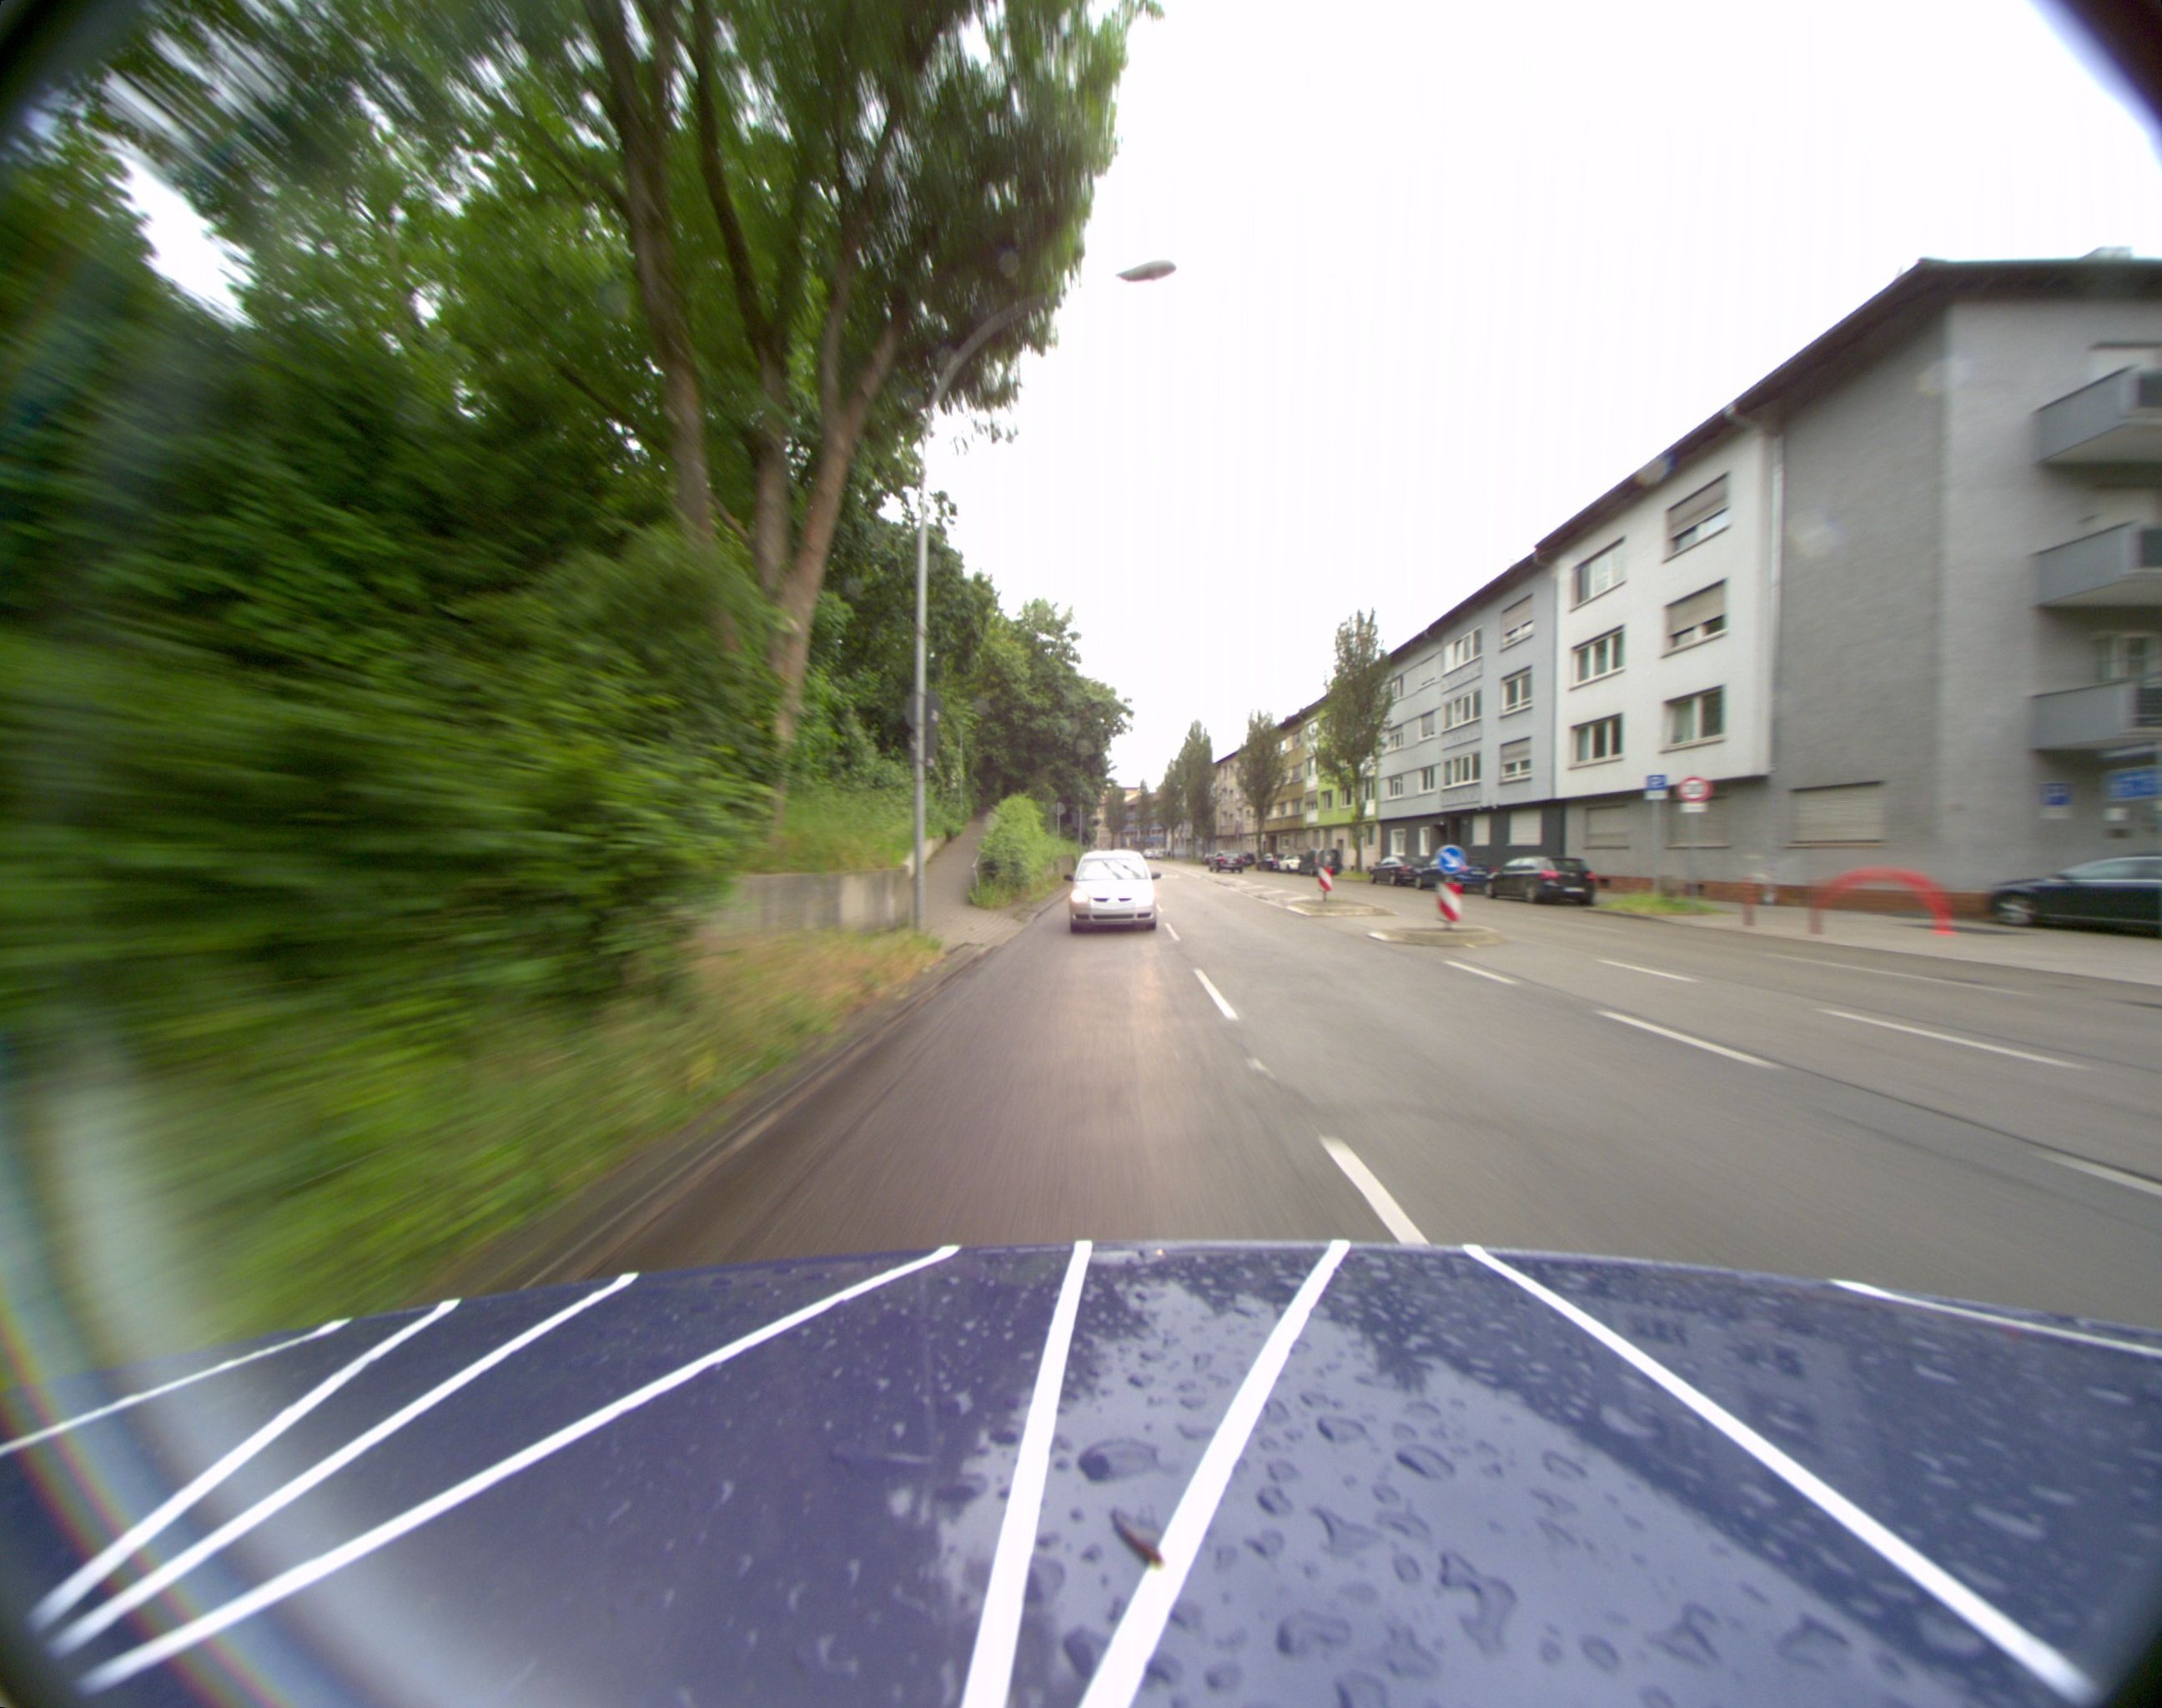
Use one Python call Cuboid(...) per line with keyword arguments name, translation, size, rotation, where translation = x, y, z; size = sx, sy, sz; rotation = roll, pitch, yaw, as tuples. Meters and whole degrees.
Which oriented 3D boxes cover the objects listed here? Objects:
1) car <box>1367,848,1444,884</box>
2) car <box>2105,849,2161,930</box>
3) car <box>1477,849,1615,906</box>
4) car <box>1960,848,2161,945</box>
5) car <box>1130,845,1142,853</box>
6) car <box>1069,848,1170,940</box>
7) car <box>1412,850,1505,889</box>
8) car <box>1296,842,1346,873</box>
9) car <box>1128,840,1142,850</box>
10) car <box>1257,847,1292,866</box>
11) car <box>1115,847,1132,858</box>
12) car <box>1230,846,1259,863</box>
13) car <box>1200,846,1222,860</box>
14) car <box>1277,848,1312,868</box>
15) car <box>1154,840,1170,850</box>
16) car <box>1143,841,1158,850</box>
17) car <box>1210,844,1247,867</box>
Cuboid(name="car", translation=(14.939, 0.498, 35.244), size=(1.726, 1.472, 4.315), rotation=(2, 1, 1))
Cuboid(name="car", translation=(21.146, 0.703, 12.938), size=(1.734, 1.516, 4.229), rotation=(1, 1, 2))
Cuboid(name="car", translation=(14.429, 0.662, 23.907), size=(1.851, 1.536, 4.247), rotation=(-2, 1, 2))
Cuboid(name="car", translation=(18.497, 0.704, 12.904), size=(1.855, 1.477, 4.634), rotation=(-2, 1, 2))
Cuboid(name="car", translation=(11.201, -1.007, 155.368), size=(1.868, 1.558, 3.955), rotation=(1, 1, -4))
Cuboid(name="car", translation=(0.876, 0.719, 16.002), size=(1.754, 1.586, 4.170), rotation=(-4, 0, 5))
Cuboid(name="car", translation=(14.595, 0.564, 29.643), size=(1.726, 1.376, 3.926), rotation=(1, 1, 1))
Cuboid(name="car", translation=(15.301, 0.188, 48.681), size=(1.904, 1.859, 4.315), rotation=(0, 1, 1))
Cuboid(name="car", translation=(8.871, -1.537, 124.664), size=(1.868, 1.558, 4.171), rotation=(1, 1, -3))
Cuboid(name="car", translation=(15.001, 0.134, 59.030), size=(1.547, 1.338, 4.252), rotation=(2, 1, -1))
Cuboid(name="car", translation=(5.872, -0.173, 105.698), size=(1.999, 1.455, 3.998), rotation=(1, 1, -3))
Cuboid(name="car", translation=(15.272, 0.034, 71.108), size=(1.868, 1.504, 3.999), rotation=(1, 1, 0))
Cuboid(name="car", translation=(14.744, -0.112, 86.360), size=(1.868, 1.591, 4.173), rotation=(1, 1, 0))
Cuboid(name="car", translation=(15.208, 0.253, 54.216), size=(1.547, 1.369, 3.448), rotation=(1, 0, 1))
Cuboid(name="car", translation=(13.415, -1.459, 126.464), size=(1.868, 1.558, 4.171), rotation=(1, 1, -4))
Cuboid(name="car", translation=(12.540, -1.598, 137.307), size=(1.869, 1.558, 4.170), rotation=(1, 1, -6))
Cuboid(name="car", translation=(10.058, 0.082, 52.017), size=(1.816, 1.507, 4.290), rotation=(2, 0, 2))
